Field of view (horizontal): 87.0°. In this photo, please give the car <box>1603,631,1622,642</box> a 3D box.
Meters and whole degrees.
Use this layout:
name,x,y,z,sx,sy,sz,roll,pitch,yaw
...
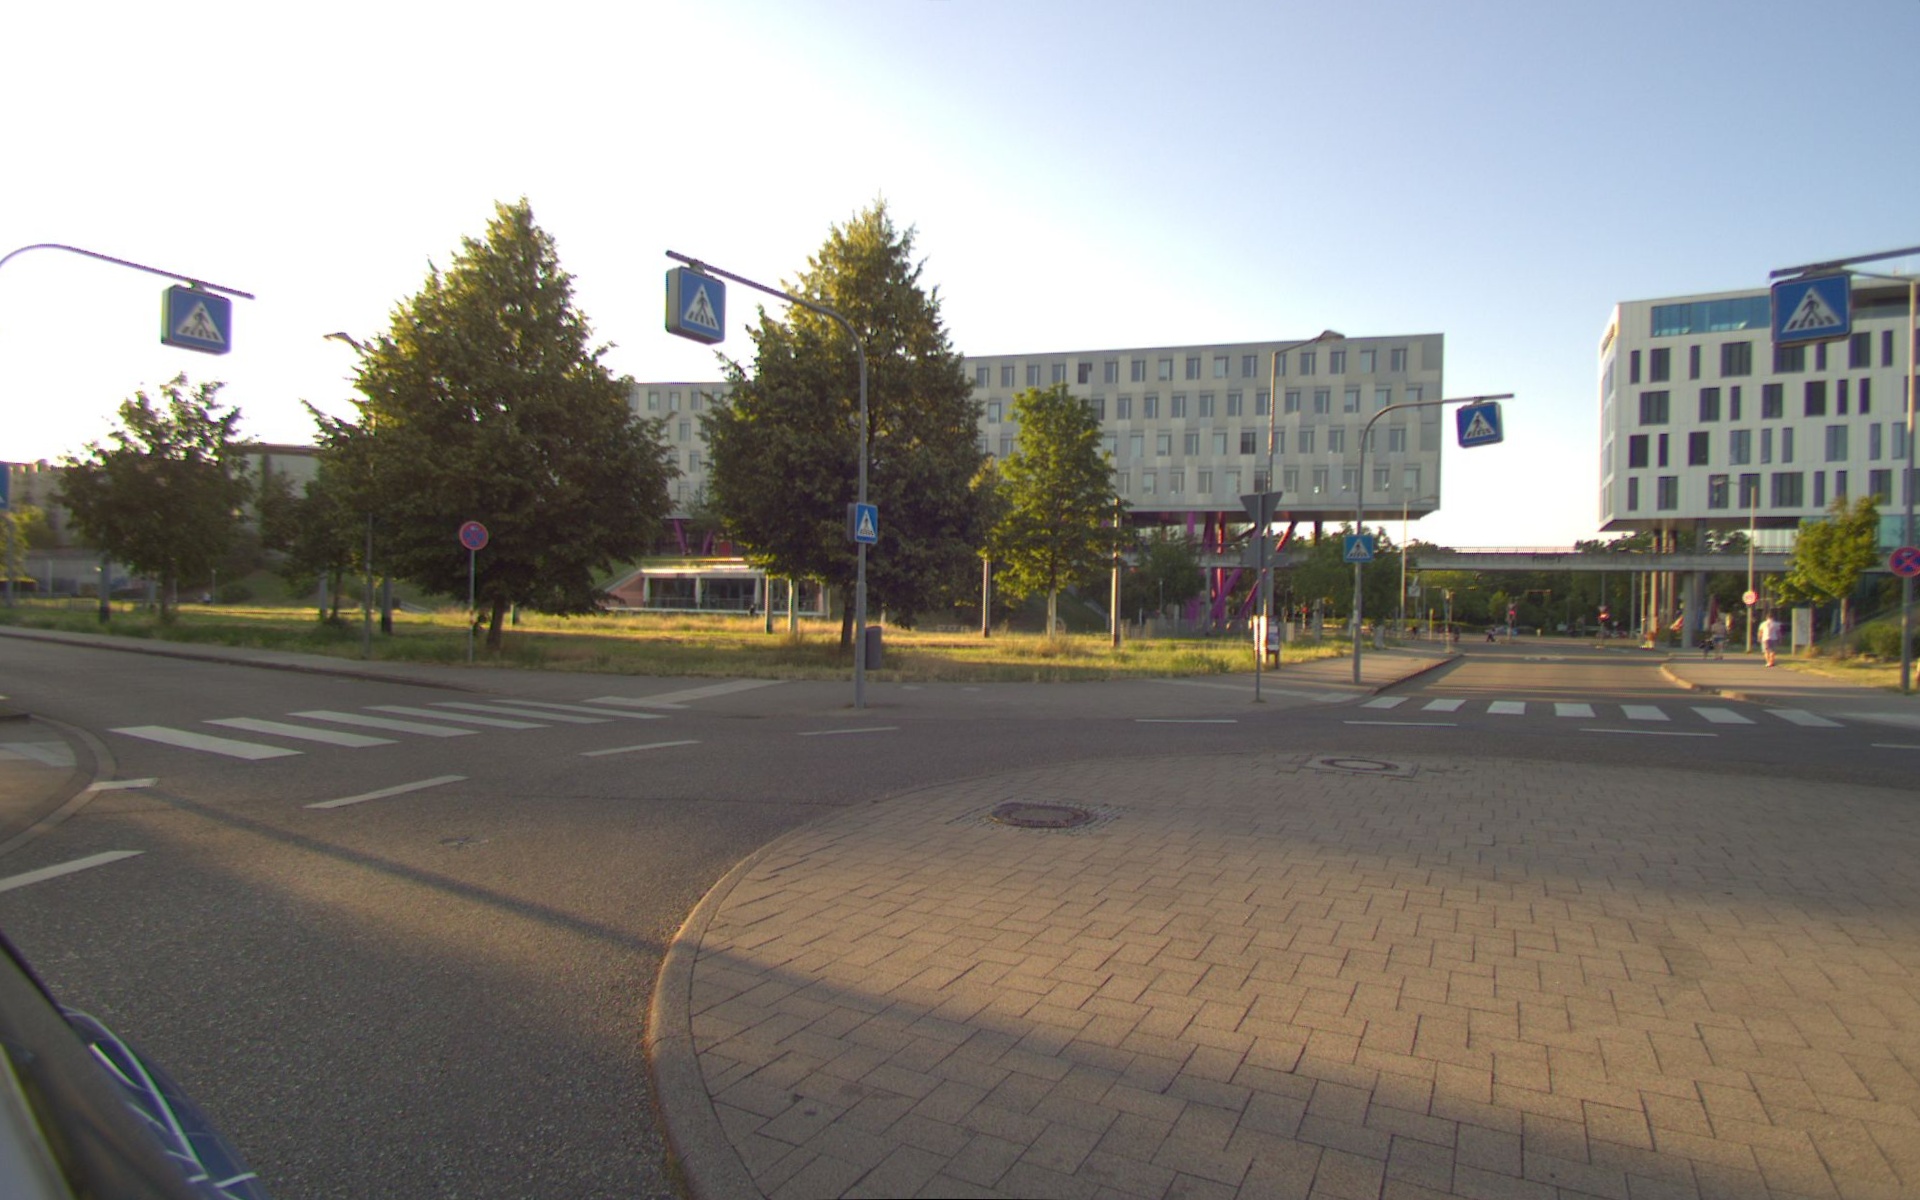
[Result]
name,x,y,z,sx,sy,sz,roll,pitch,yaw
car,108.536,6.064,168.409,3.346,1.618,1.506,1,0,-35

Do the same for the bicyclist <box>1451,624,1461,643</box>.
name,x,y,z,sx,sy,sz,roll,pitch,yaw
bicyclist,43.469,2.929,88.665,0.615,1.675,1.024,1,0,33

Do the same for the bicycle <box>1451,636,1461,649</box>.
name,x,y,z,sx,sy,sz,roll,pitch,yaw
bicycle,43.477,3.727,88.677,0.539,1.051,1.903,1,0,33

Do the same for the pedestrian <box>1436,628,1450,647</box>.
name,x,y,z,sx,sy,sz,roll,pitch,yaw
pedestrian,48.644,3.770,101.953,1.047,1.848,0.891,1,0,15

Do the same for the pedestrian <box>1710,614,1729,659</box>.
name,x,y,z,sx,sy,sz,roll,pitch,yaw
pedestrian,31.451,1.513,41.906,0.595,1.815,0.808,1,0,35

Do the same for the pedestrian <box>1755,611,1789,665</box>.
name,x,y,z,sx,sy,sz,roll,pitch,yaw
pedestrian,27.268,1.268,33.985,0.832,1.780,0.808,1,0,36

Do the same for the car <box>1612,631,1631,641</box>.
name,x,y,z,sx,sy,sz,roll,pitch,yaw
car,111.425,6.117,170.508,3.346,1.618,1.506,1,0,-35

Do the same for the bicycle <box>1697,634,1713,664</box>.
name,x,y,z,sx,sy,sz,roll,pitch,yaw
bicycle,31.004,2.010,42.116,0.450,1.177,1.918,1,0,34
